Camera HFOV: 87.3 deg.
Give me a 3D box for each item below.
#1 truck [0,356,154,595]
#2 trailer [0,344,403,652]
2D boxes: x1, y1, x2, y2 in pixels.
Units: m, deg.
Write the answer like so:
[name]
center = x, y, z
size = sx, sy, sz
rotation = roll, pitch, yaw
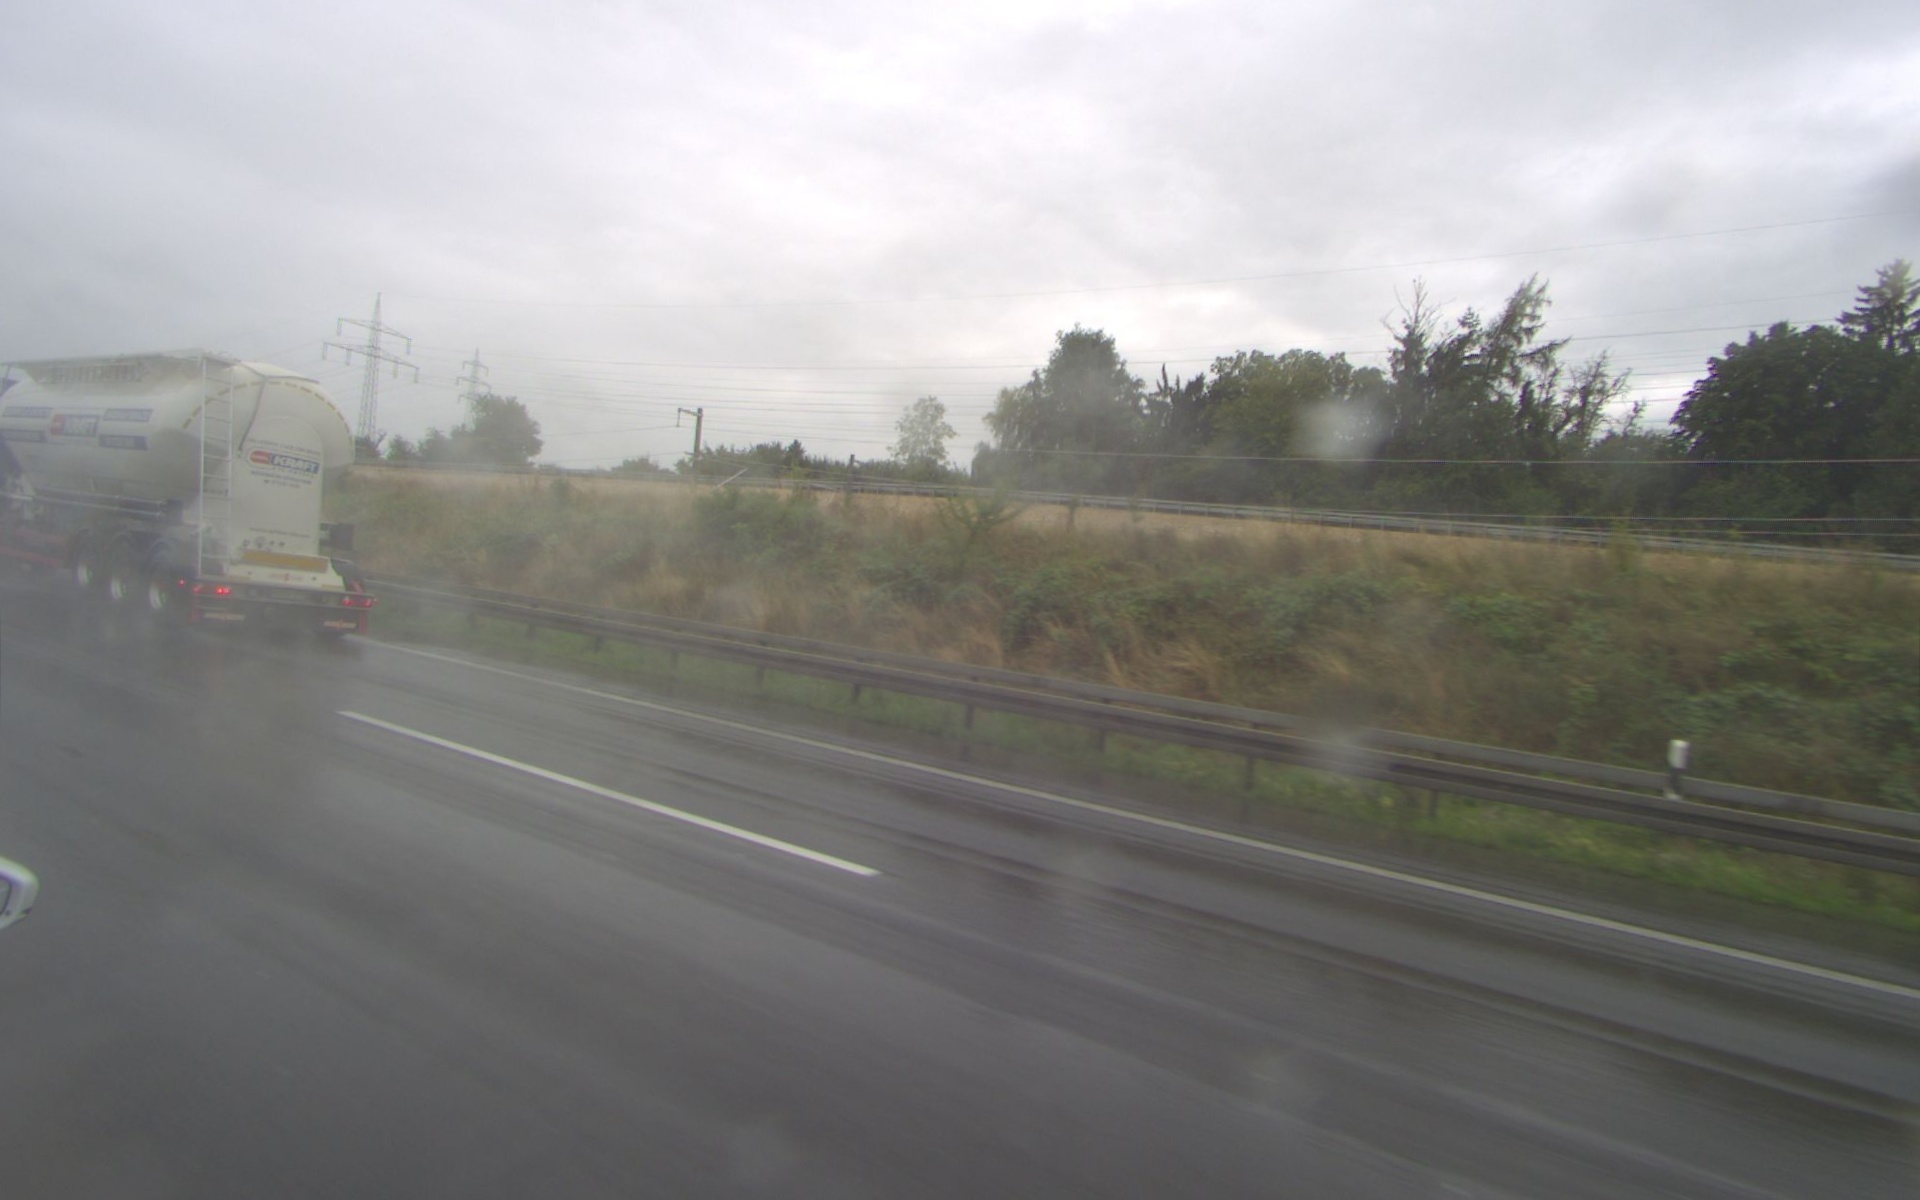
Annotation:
[truck]
center = -18.819, -2.477, 19.946
size = 4.990, 4.031, 2.501
rotation = 7, -1, 31
[trailer]
center = -13.944, -1.859, 16.985
size = 10.881, 3.928, 2.502
rotation = 7, -1, 31
